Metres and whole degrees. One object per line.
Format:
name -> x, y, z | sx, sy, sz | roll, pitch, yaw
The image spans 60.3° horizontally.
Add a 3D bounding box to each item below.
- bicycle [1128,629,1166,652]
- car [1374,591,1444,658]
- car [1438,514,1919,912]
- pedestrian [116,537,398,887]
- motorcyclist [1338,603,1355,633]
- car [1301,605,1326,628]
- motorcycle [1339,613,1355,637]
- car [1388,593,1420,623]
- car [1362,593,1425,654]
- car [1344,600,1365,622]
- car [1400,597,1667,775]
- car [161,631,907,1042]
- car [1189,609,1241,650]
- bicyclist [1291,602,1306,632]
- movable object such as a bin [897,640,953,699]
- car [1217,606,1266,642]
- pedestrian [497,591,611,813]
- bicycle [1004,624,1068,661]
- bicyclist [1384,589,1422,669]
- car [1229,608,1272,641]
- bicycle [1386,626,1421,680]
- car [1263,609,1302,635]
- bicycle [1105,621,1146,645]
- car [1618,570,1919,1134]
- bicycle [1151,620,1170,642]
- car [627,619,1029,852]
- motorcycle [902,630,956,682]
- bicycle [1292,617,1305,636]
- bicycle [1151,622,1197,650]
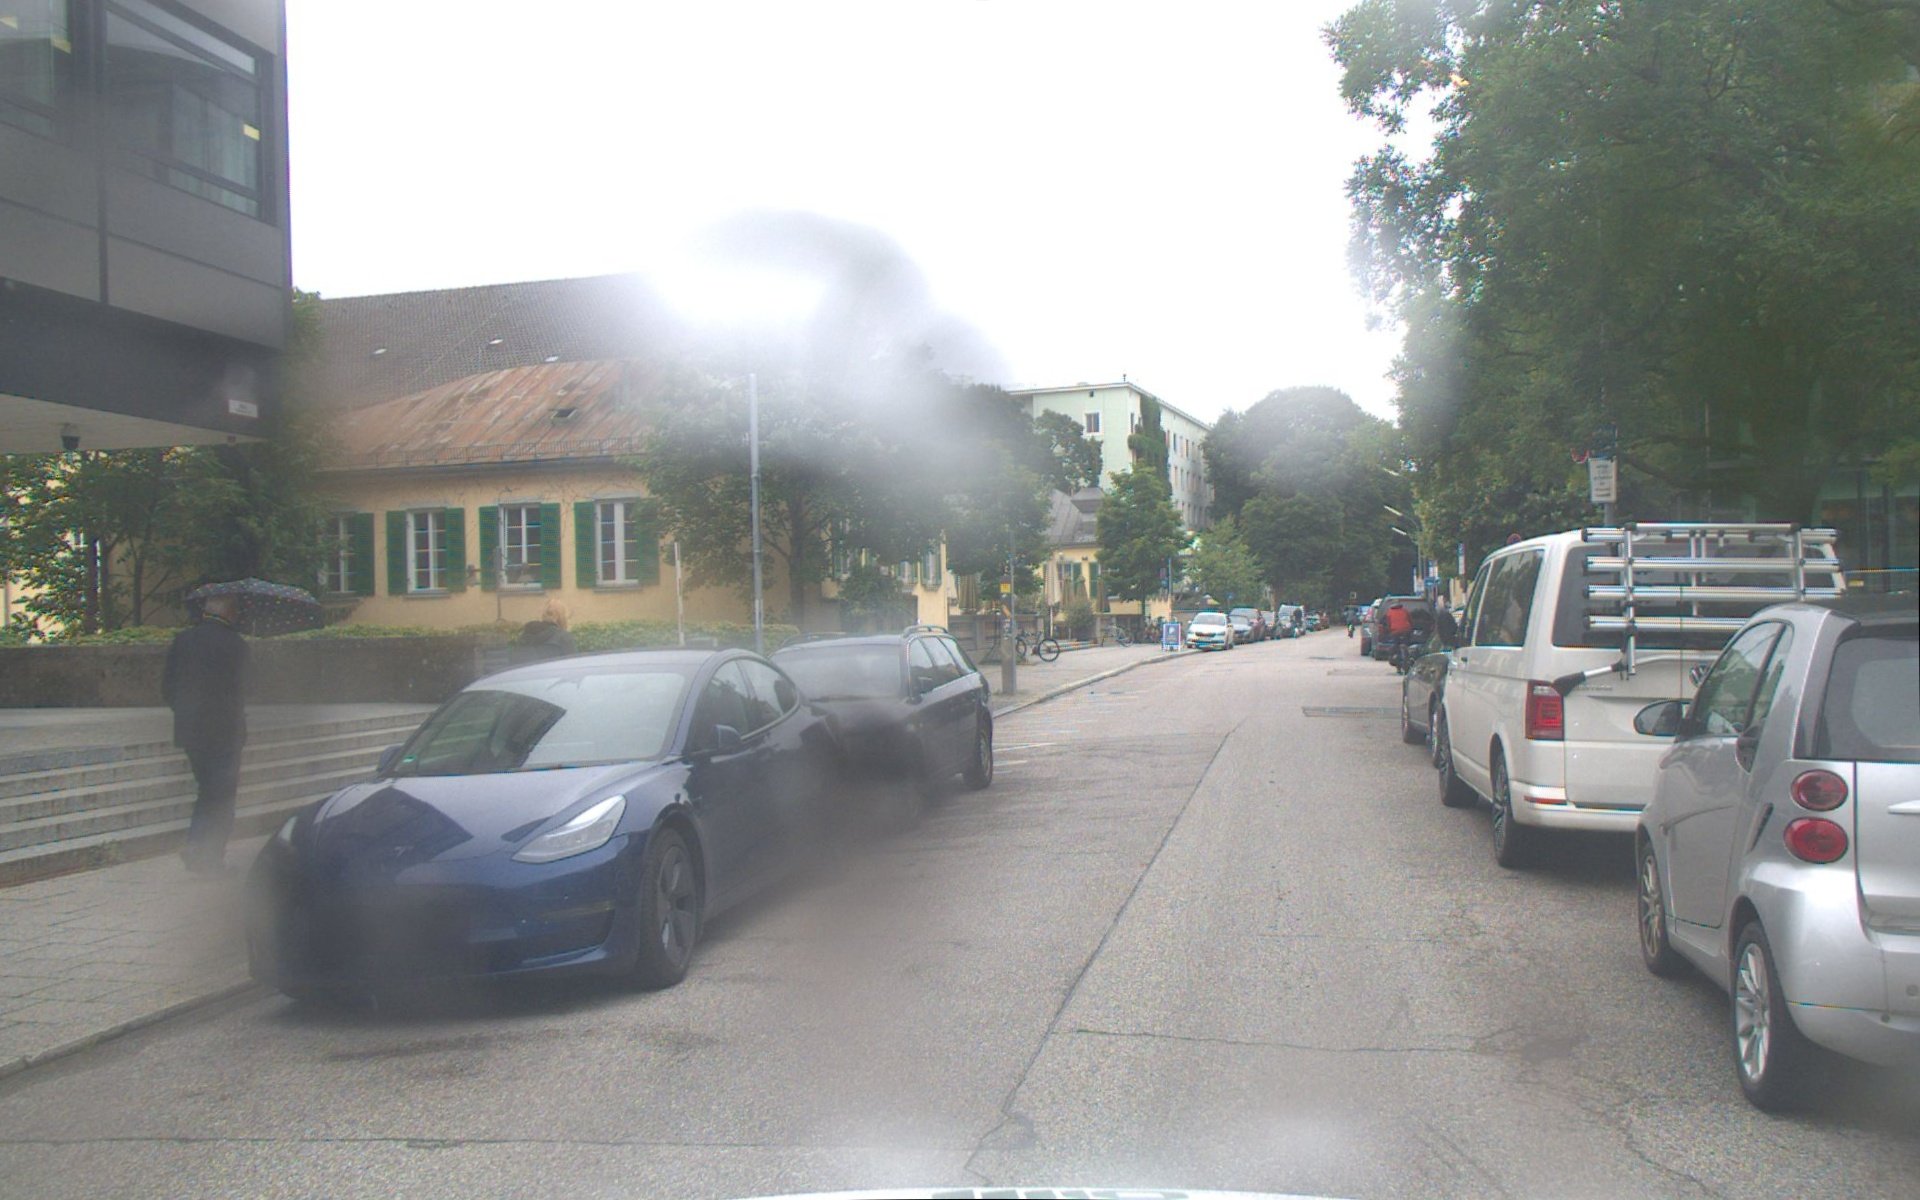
bicycle -> 8.538, 1.843, 75.541 | 1.593, 1.022, 0.618 | -1, -2, -25
car -> 13.202, 0.702, 48.817 | 1.723, 1.855, 4.142 | -1, 0, 12
car -> 4.382, 0.563, 10.981 | 1.805, 1.967, 5.277 | 1, 0, 11
pedestrian -> -4.497, 0.695, 10.680 | 1.111, 2.090, 1.222 | -3, -1, 11
motorcyclist -> 20.252, 0.927, 86.672 | 0.775, 1.536, 1.149 | -2, -2, 17
car -> 28.505, 1.335, 133.351 | 1.772, 1.712, 4.003 | -2, -1, 14
motorcycle -> 20.273, 1.310, 86.673 | 0.646, 1.227, 2.243 | -2, -1, 17
car -> 32.285, 0.565, 120.391 | 1.951, 2.096, 4.627 | -1, -1, 12
car -> 14.028, 0.729, 53.579 | 1.823, 1.825, 4.513 | -2, -1, 14
car -> 40.404, 1.097, 169.377 | 1.951, 2.135, 4.003 | 1, 0, 14
car -> 5.627, 0.747, 16.836 | 1.733, 1.516, 4.978 | 1, 0, 9
car -> -1.751, 0.970, 8.761 | 1.882, 1.464, 4.922 | -4, -2, 10
car -> 10.620, 1.218, 68.751 | 1.697, 1.609, 3.790 | 1, 0, 15
bicyclist -> 18.818, 0.934, 91.922 | 0.727, 1.603, 0.978 | -2, -1, 11
movable object such as a bin -> -0.666, 1.339, 31.950 | 0.915, 1.082, 0.841 | -2, 0, 9
car -> 13.803, 1.143, 80.955 | 1.951, 1.677, 4.659 | -2, -1, 14
pedestrian -> -3.395, 0.831, 13.908 | 0.738, 1.780, 0.952 | -1, -1, -4
bicycle -> 2.331, 1.298, 50.677 | 1.889, 1.118, 0.615 | 0, 0, 15
bicyclist -> 8.750, 0.580, 32.674 | 0.657, 1.524, 1.095 | -2, -2, 15
car -> 15.115, 1.299, 85.874 | 1.951, 1.631, 4.003 | -2, -2, 13
bicycle -> 8.766, 1.049, 32.730 | 0.608, 1.022, 2.141 | -2, -2, 14
car -> 20.113, 1.345, 103.071 | 1.951, 1.512, 4.003 | -2, -1, 16
bicycle -> 6.918, 1.390, 69.159 | 1.585, 0.942, 0.649 | -1, -2, -13
car -> 3.473, 0.710, 5.954 | 1.571, 1.573, 2.936 | 0, 0, 12
bicycle -> 9.828, 1.520, 80.927 | 0.608, 1.022, 1.619 | -1, -2, 17
car -> -0.849, 0.989, 13.953 | 1.951, 1.517, 4.887 | -3, -1, 13
motorcycle -> -0.714, 1.239, 37.150 | 0.550, 1.120, 1.824 | 0, -1, -24
bicycle -> 18.810, 1.467, 91.949 | 0.608, 1.022, 2.142 | -2, -1, 11
bicycle -> 8.353, 1.399, 64.620 | 0.613, 1.022, 2.124 | 1, 0, 45
